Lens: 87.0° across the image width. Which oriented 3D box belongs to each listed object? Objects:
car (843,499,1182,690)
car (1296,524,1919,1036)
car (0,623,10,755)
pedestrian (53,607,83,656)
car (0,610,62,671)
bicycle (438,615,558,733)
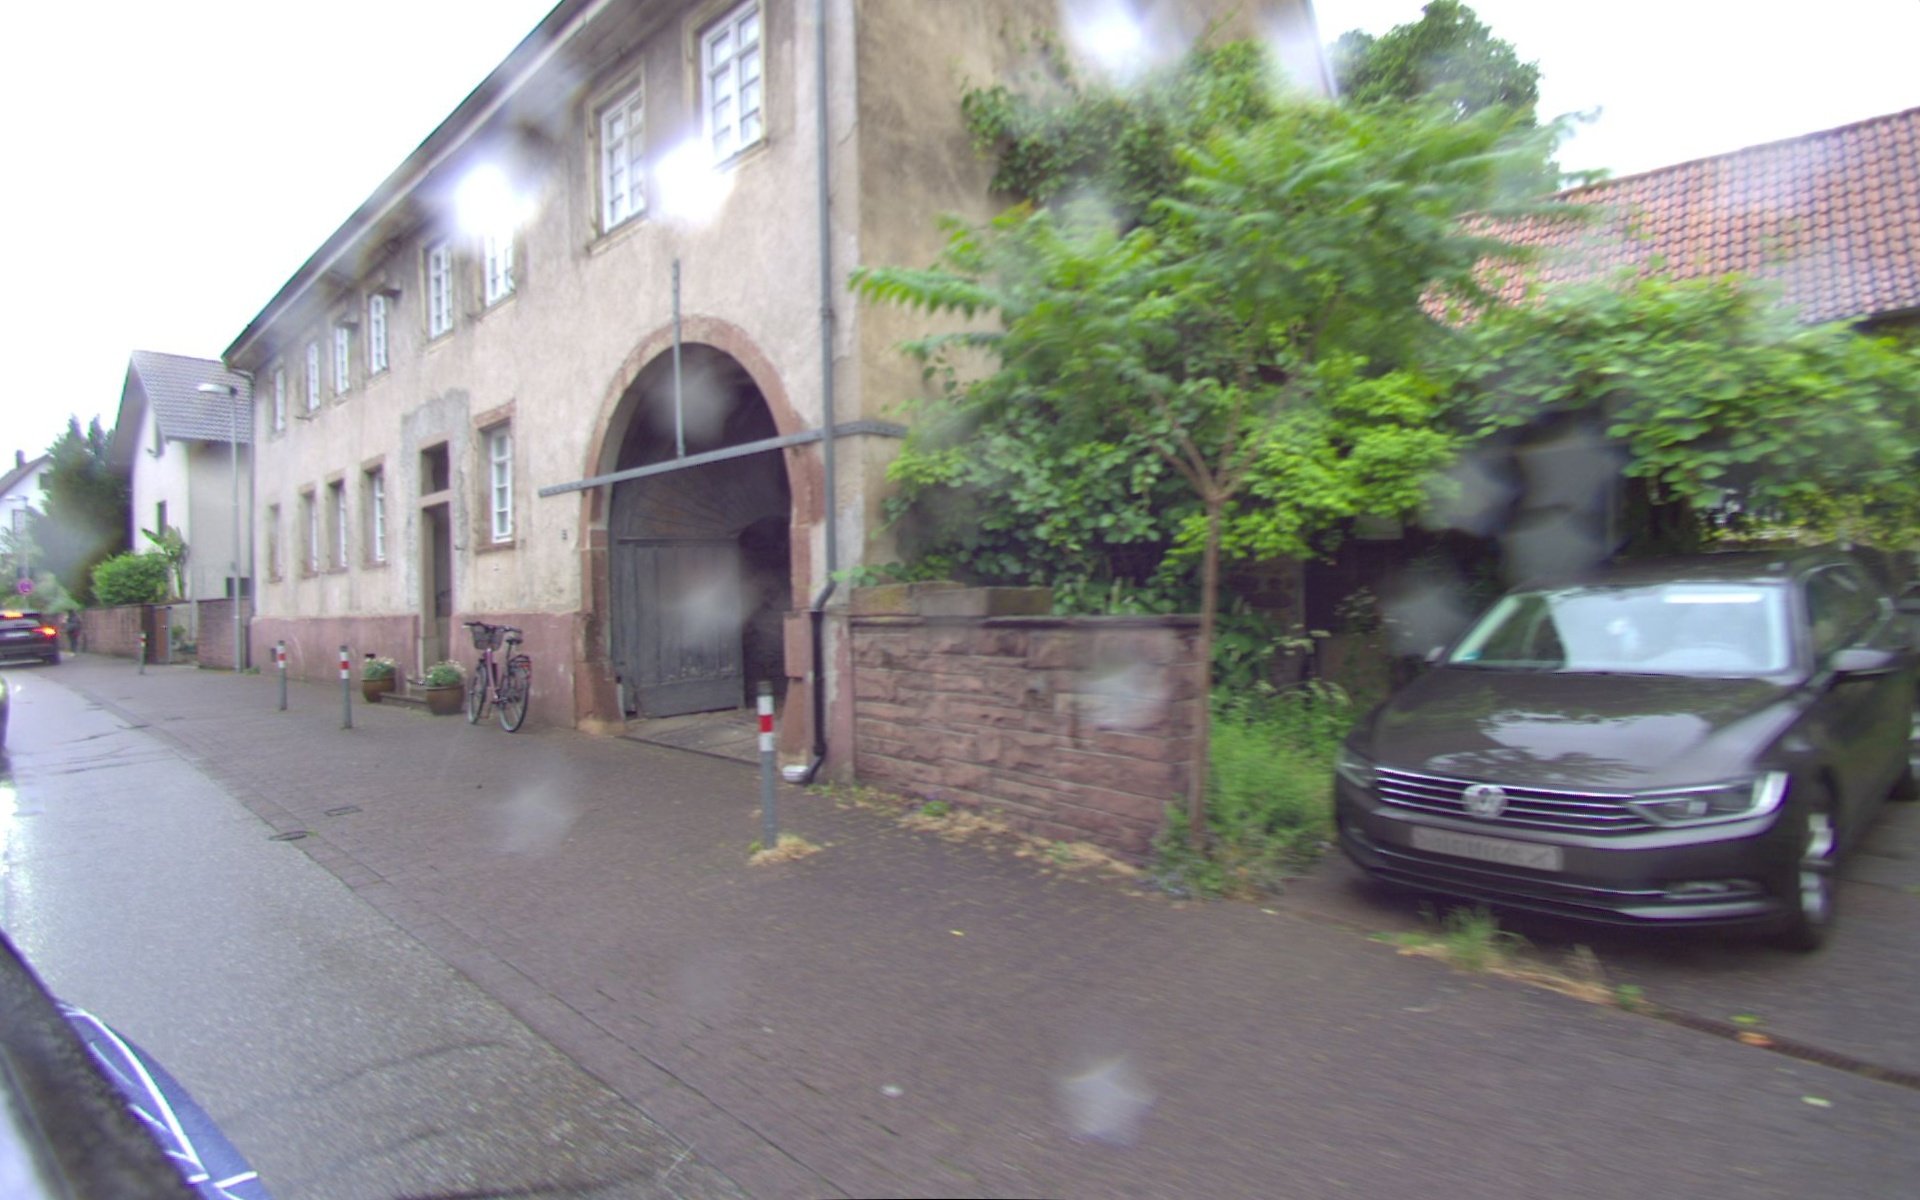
[{"bbox_3d":[0.804,-0.183,12.703,1.886,1.946,4.180,-1,4,44],"label":"car"},{"bbox_3d":[3.582,0.461,5.013,3.938,1.436,1.739,-6,4,-39],"label":"car"},{"bbox_3d":[-12.135,0.951,11.414,4.101,1.381,1.716,-1,-2,42],"label":"car"},{"bbox_3d":[-29.392,1.034,33.341,0.832,1.550,0.566,-1,1,39],"label":"pedestrian"},{"bbox_3d":[-27.369,1.126,29.051,4.238,1.567,1.814,-1,3,42],"label":"car"},{"bbox_3d":[-5.139,0.788,11.192,1.874,1.187,0.476,-2,1,43],"label":"bicycle"}]
